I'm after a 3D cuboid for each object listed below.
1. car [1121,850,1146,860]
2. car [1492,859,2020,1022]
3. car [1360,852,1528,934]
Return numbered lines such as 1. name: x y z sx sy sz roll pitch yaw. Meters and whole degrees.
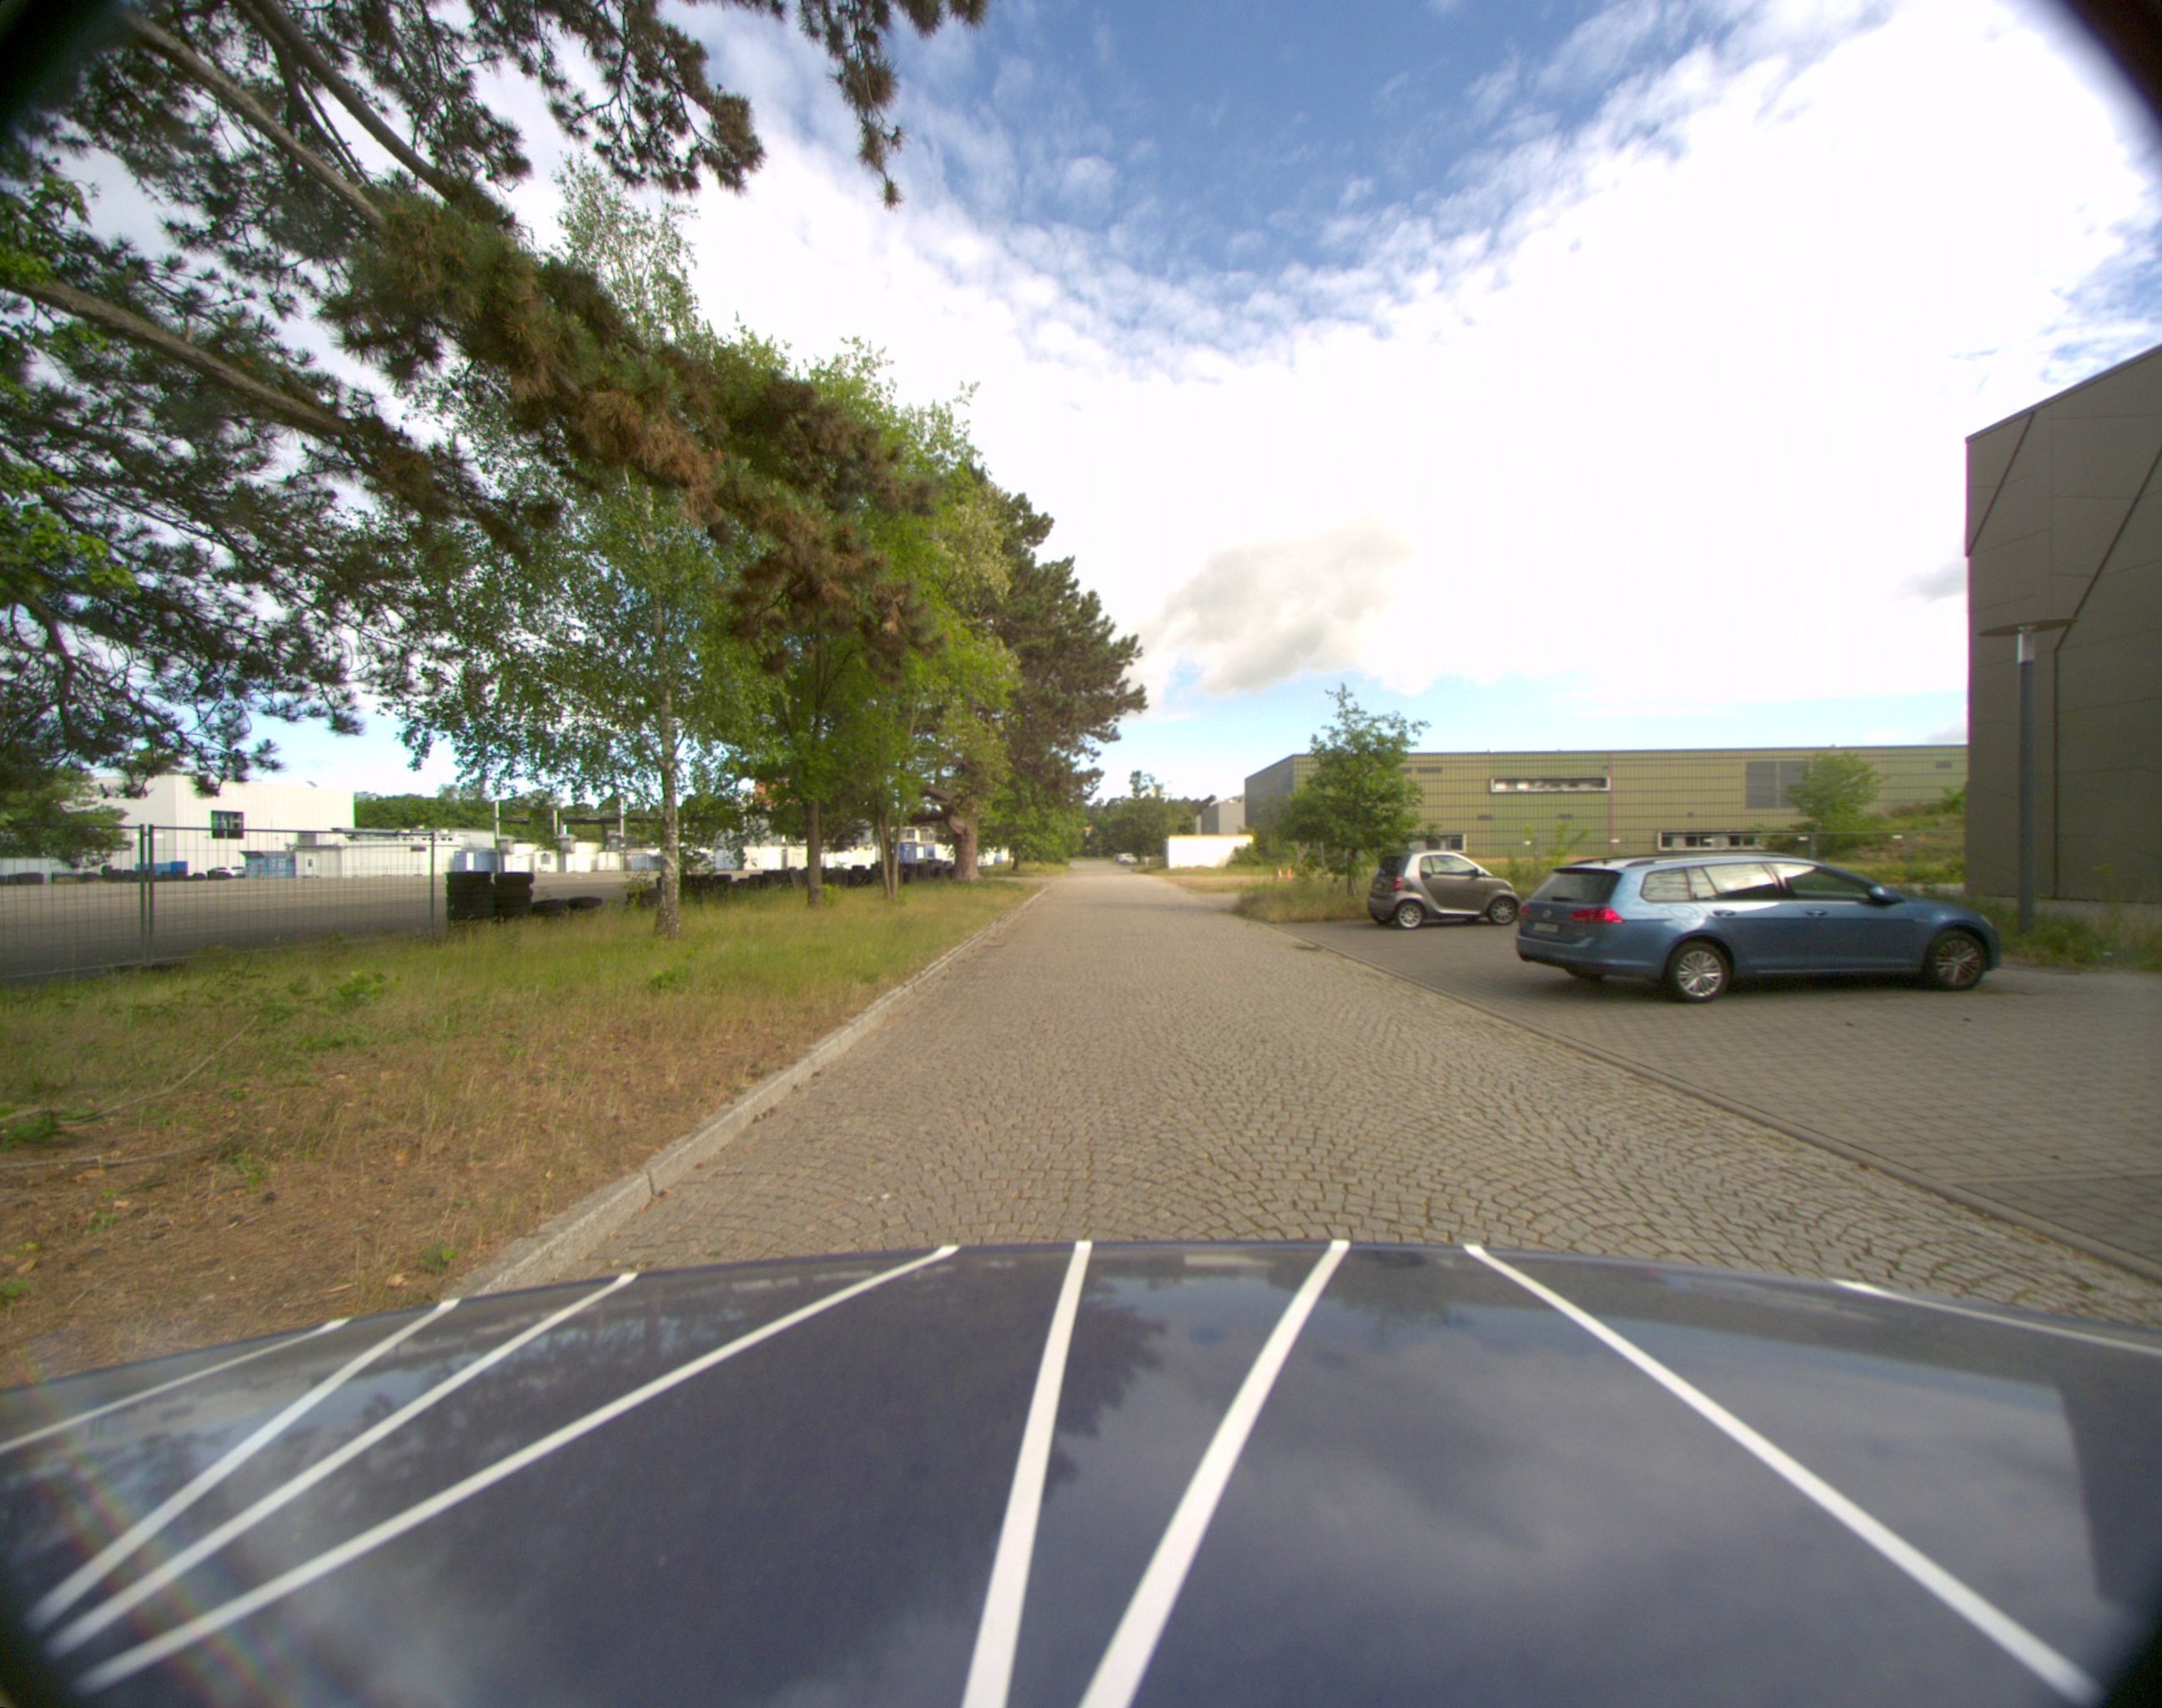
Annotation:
1. car: 8.422 0.168 122.893 3.996 1.604 1.797 -1 1 4
2. car: 7.171 0.848 8.375 4.317 1.420 1.773 -2 0 -2
3. car: 7.395 0.766 15.675 2.661 1.502 1.610 -2 1 0
